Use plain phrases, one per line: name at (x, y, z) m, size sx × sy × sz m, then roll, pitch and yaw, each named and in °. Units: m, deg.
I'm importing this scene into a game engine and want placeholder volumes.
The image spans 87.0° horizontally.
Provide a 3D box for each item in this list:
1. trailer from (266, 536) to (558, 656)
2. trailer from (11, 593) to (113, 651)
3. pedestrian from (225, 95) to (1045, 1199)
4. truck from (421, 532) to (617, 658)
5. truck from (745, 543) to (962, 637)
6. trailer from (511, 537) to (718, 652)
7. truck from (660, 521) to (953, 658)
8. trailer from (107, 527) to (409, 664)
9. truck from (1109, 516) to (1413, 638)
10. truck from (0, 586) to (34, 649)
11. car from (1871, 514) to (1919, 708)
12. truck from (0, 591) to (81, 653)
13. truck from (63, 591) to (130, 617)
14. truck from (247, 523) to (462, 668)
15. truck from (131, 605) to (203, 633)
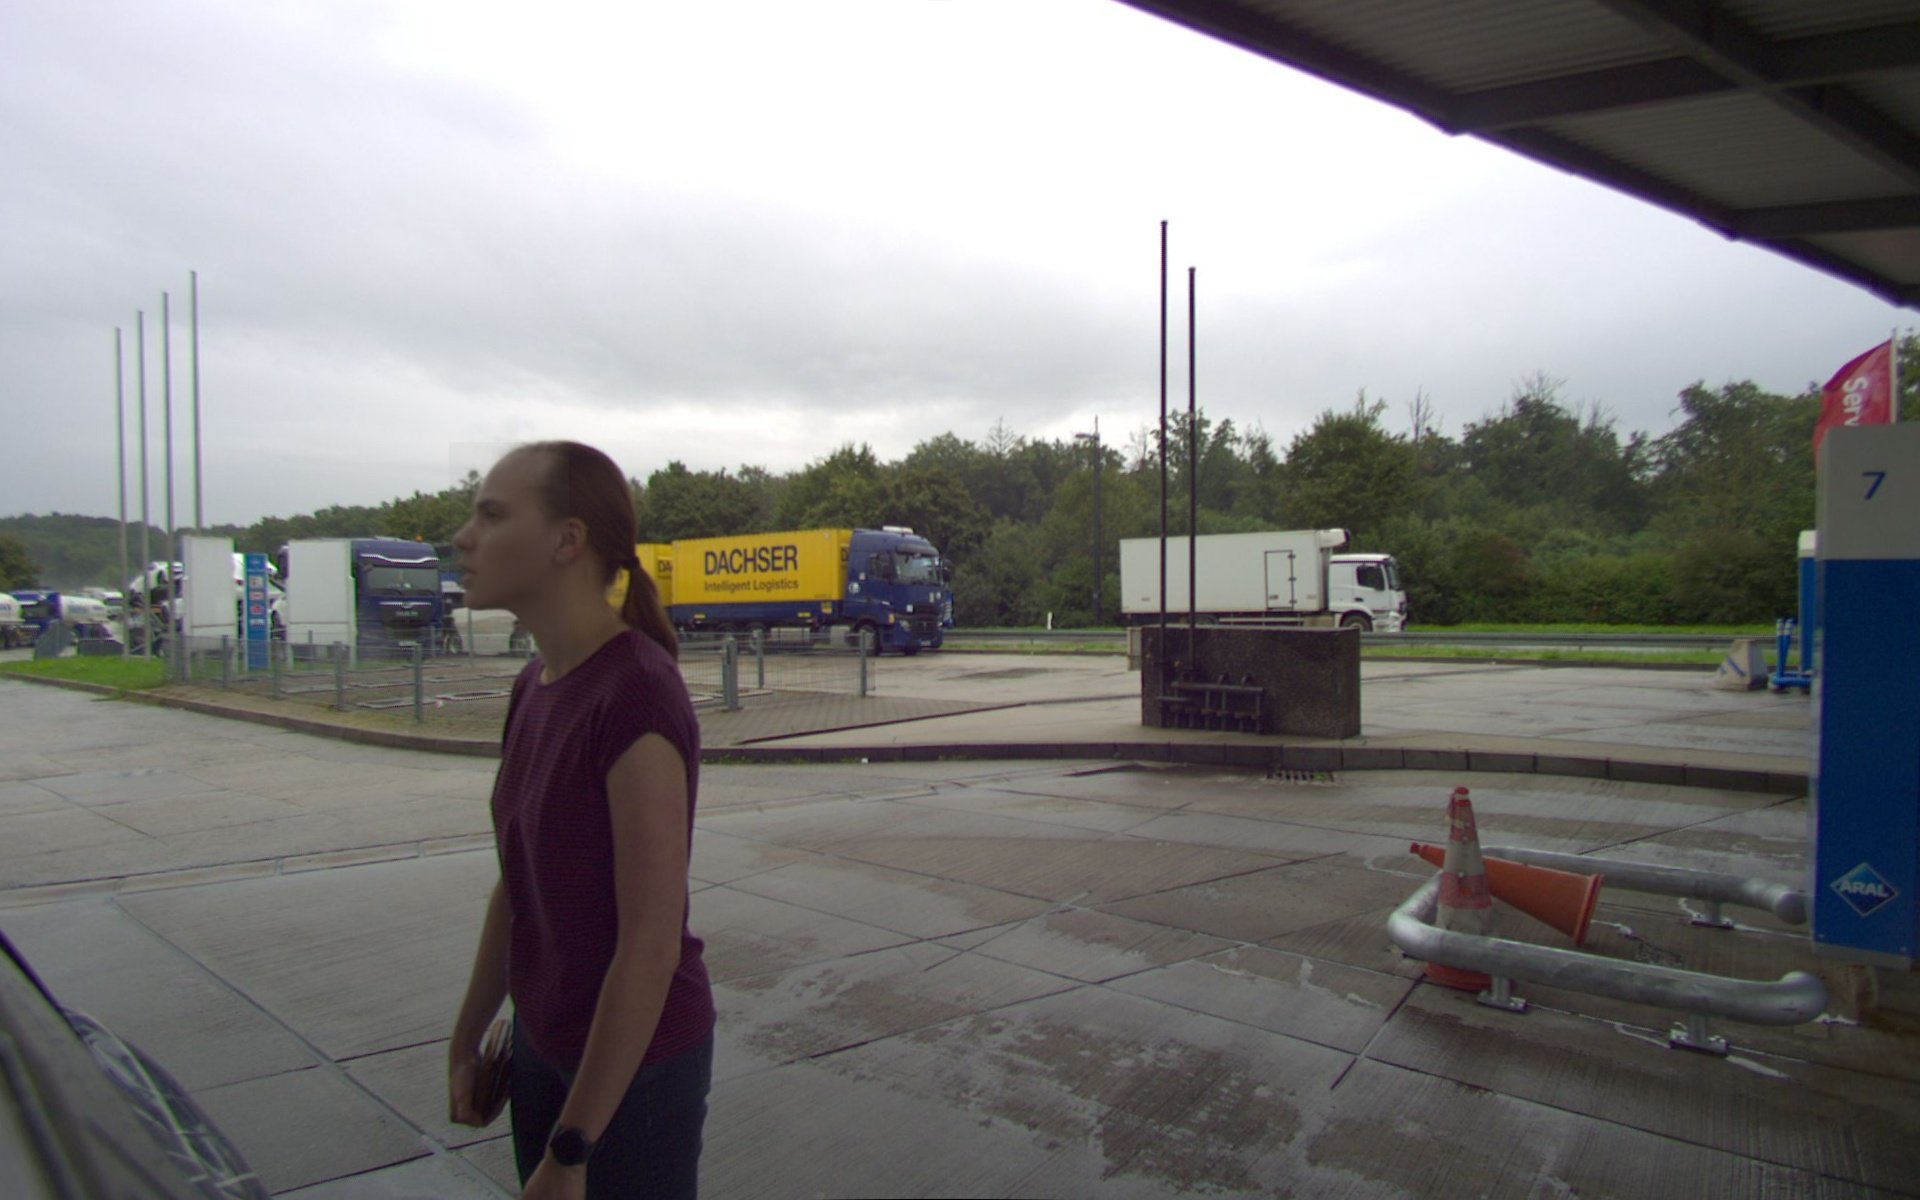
trailer at (-21.433, -0.062, 39.041) m, size 13.747 × 4.063 × 2.962 m, roll -1°, pitch 0°, yaw 29°
trailer at (-62.284, 1.432, 70.484) m, size 2.854 × 3.666 × 10.605 m, roll -1°, pitch 0°, yaw -28°
pedestrian at (-0.447, 0.443, 1.439) m, size 0.839 × 1.747 × 0.786 m, roll -1°, pitch -1°, yaw 40°
truck at (-15.592, -0.136, 35.664) m, size 6.717 × 4.063 × 2.960 m, roll -1°, pitch 0°, yaw 31°
truck at (-5.154, -0.373, 47.694) m, size 10.433 × 4.063 × 2.961 m, roll -1°, pitch 0°, yaw 30°
trailer at (-13.560, -0.164, 39.293) m, size 8.833 × 4.063 × 2.743 m, roll -1°, pitch 0°, yaw 33°
truck at (-5.404, -0.268, 33.959) m, size 10.608 × 4.063 × 2.743 m, roll -1°, pitch 0°, yaw 33°
trailer at (-25.430, -0.056, 35.928) m, size 16.563 × 4.063 × 2.957 m, roll -1°, pitch 0°, yaw 34°
truck at (11.019, -0.731, 37.728) m, size 10.433 × 4.063 × 2.961 m, roll -1°, pitch 0°, yaw 30°
truck at (-55.572, 1.016, 55.018) m, size 3.196 × 3.591 × 12.013 m, roll -1°, pitch 0°, yaw -19°
car at (14.861, 0.116, 12.385) m, size 5.272 × 2.482 × 2.298 m, roll -1°, pitch -2°, yaw 37°
truck at (-59.439, 1.369, 64.997) m, size 3.000 × 3.795 × 6.486 m, roll -1°, pitch 0°, yaw -27°
truck at (-128.613, 0.636, 150.630) m, size 16.515 × 3.591 × 3.215 m, roll -1°, pitch 0°, yaw 34°
truck at (-19.006, -0.112, 31.625) m, size 7.244 × 4.063 × 2.957 m, roll -1°, pitch 0°, yaw 34°
truck at (-106.520, 2.573, 135.801) m, size 14.626 × 3.591 × 3.215 m, roll -1°, pitch -1°, yaw 34°
